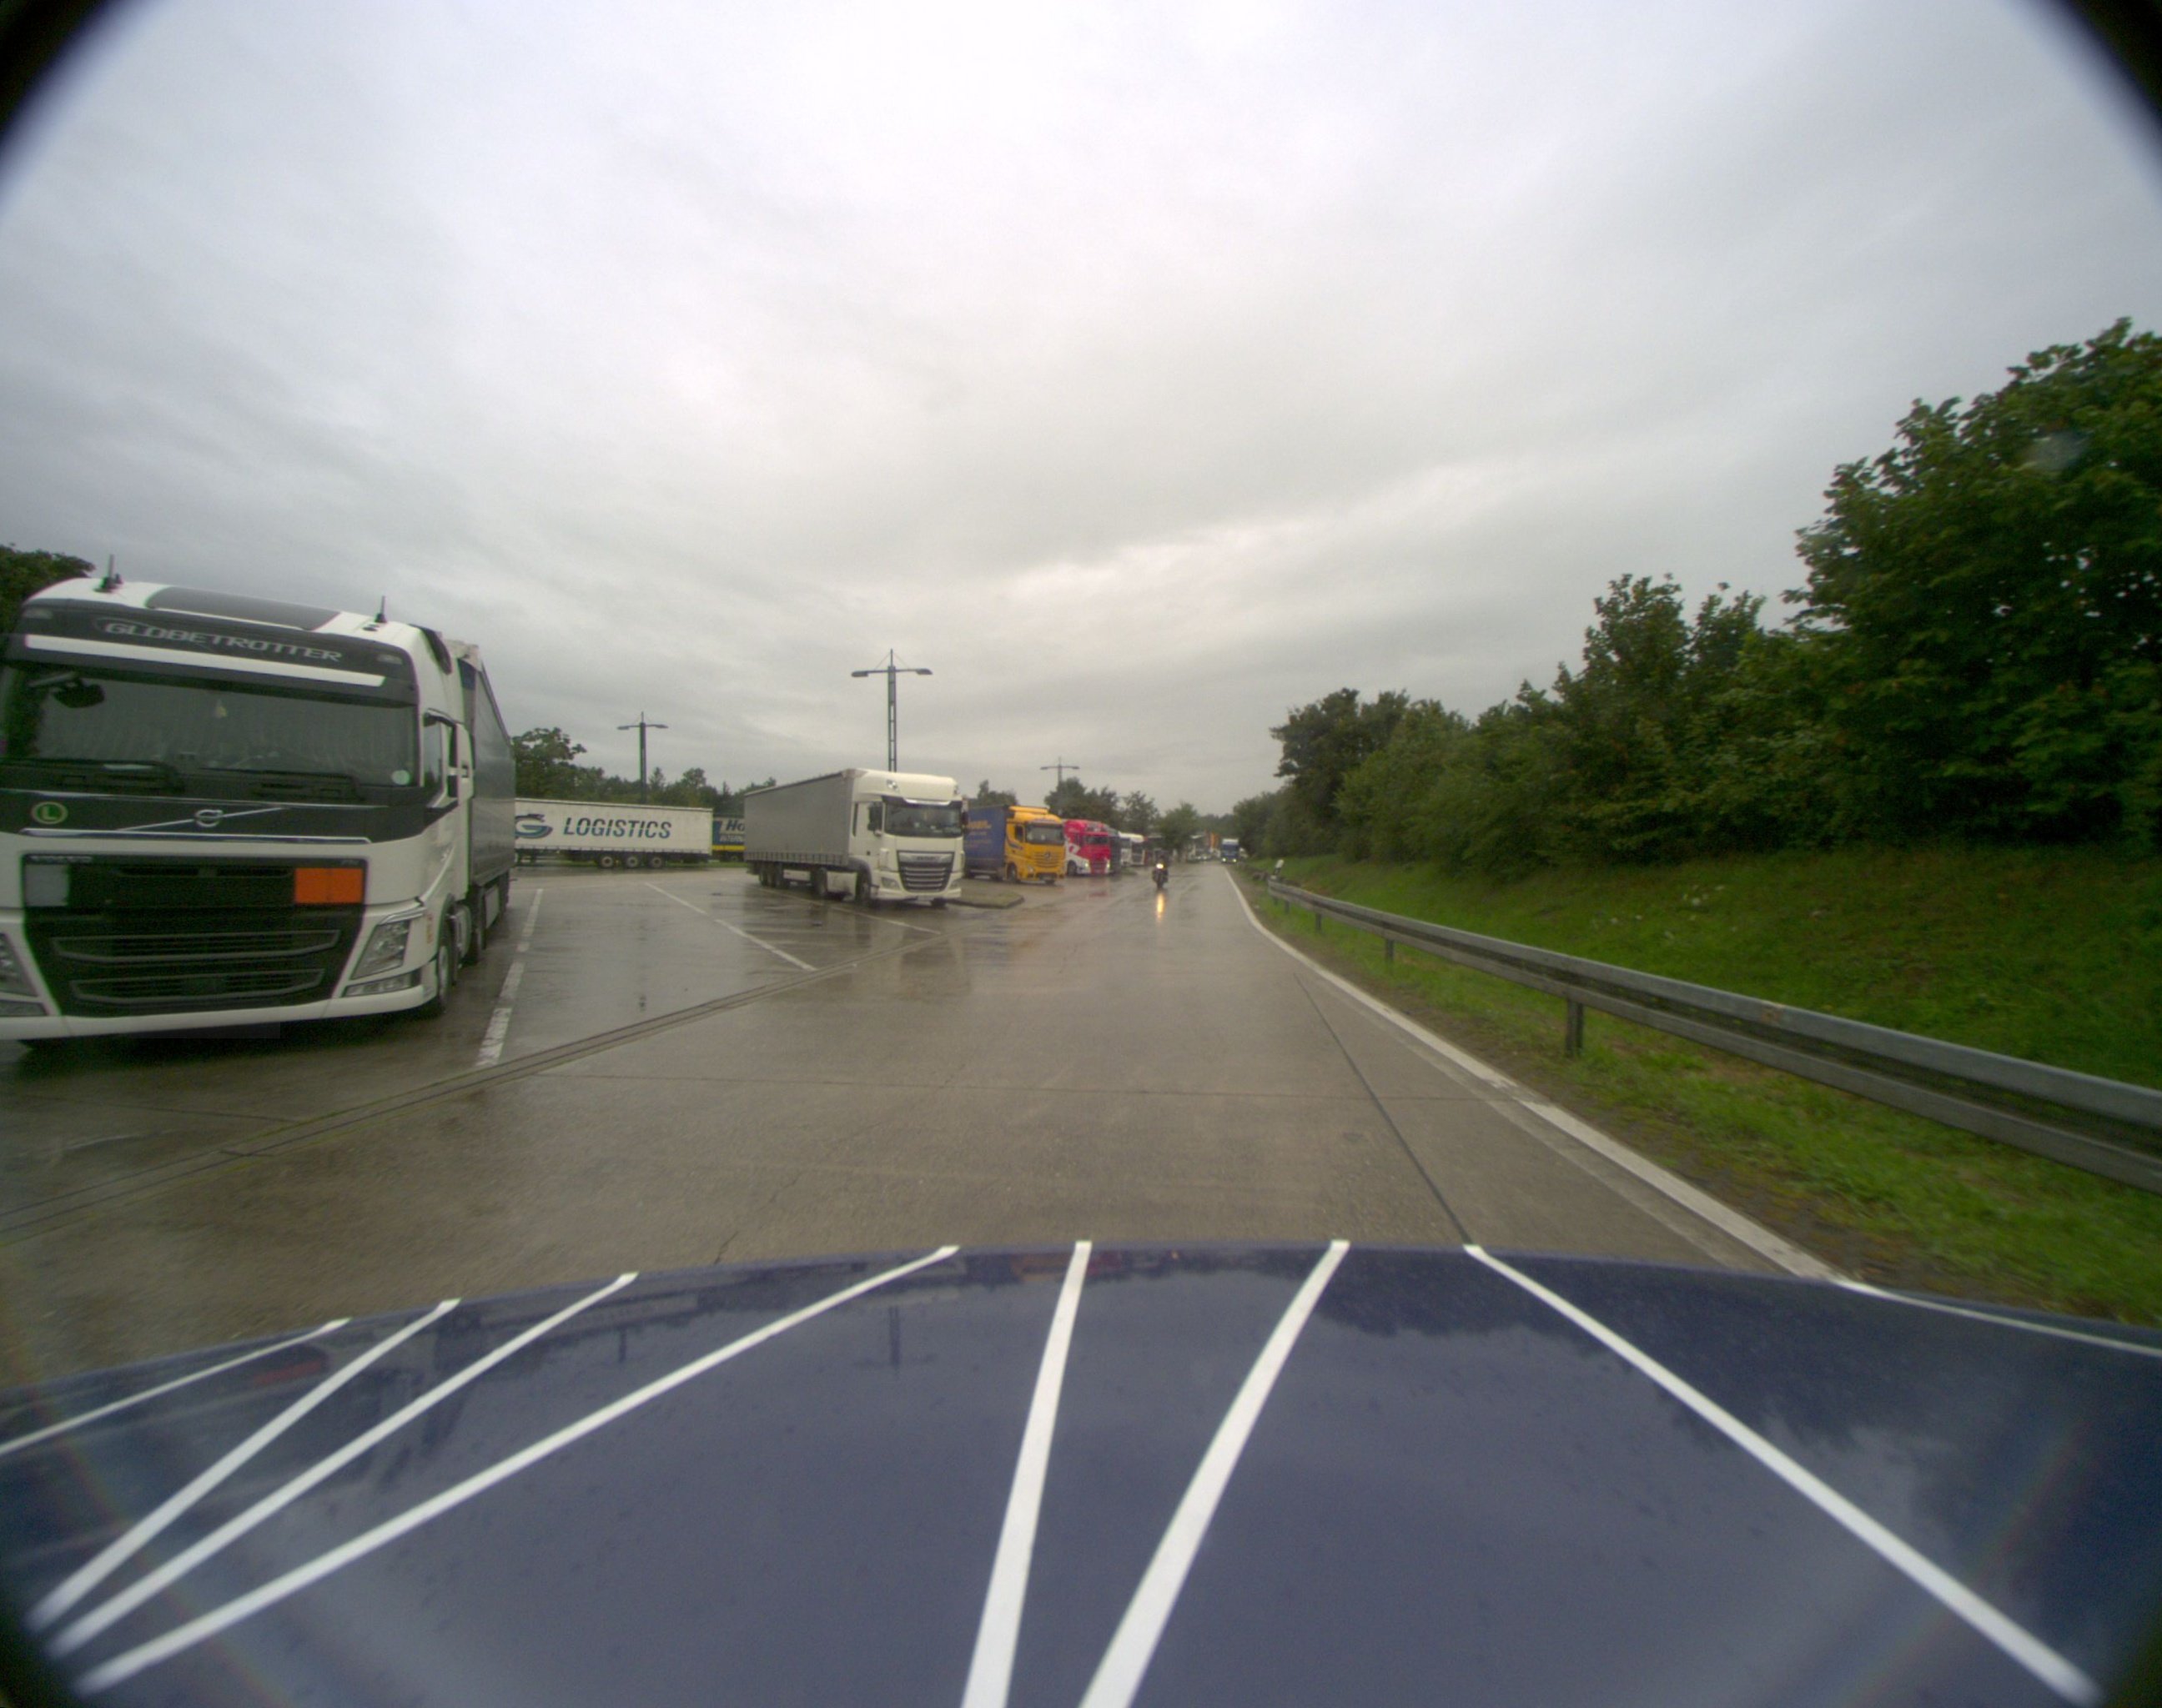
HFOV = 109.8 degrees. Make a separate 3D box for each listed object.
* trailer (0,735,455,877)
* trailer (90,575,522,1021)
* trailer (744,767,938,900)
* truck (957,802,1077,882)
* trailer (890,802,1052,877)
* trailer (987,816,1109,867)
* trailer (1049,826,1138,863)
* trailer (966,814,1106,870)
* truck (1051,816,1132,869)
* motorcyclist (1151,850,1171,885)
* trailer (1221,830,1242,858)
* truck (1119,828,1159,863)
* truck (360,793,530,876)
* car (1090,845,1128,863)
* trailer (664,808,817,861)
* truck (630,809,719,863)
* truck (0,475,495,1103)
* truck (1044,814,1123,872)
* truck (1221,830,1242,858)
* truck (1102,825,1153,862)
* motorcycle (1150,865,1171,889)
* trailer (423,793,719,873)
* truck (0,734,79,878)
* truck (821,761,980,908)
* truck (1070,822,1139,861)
[{"bbox_3d":[-30.900,-1.491,27.853,12.055,4.448,3.250,0,1,-36],"label":"trailer"},{"bbox_3d":[-12.021,-0.649,13.620,2.832,4.147,13.955,0,1,-35],"label":"trailer"},{"bbox_3d":[-9.723,-0.736,28.815,2.850,3.897,13.916,0,1,-35],"label":"trailer"},{"bbox_3d":[-3.697,-0.656,41.430,2.846,3.897,8.108,0,1,-34],"label":"truck"},{"bbox_3d":[-7.468,-0.893,46.926,2.874,3.897,16.588,0,1,-34],"label":"trailer"},{"bbox_3d":[-3.179,-1.074,64.747,2.882,3.897,13.896,0,1,-38],"label":"trailer"},{"bbox_3d":[1.355,-1.215,97.801,3.252,4.361,14.356,-1,1,-38],"label":"trailer"},{"bbox_3d":[-4.013,-0.959,60.089,3.253,3.897,14.788,0,1,-38],"label":"trailer"},{"bbox_3d":[0.743,-0.890,59.673,2.905,3.897,6.537,0,1,-38],"label":"truck"},{"bbox_3d":[3.685,0.632,35.146,0.877,1.558,1.374,1,0,6],"label":"motorcyclist"},{"bbox_3d":[25.295,-1.691,128.304,3.241,4.361,13.775,0,1,10],"label":"trailer"},{"bbox_3d":[7.402,-1.061,97.568,2.611,4.361,4.616,-1,1,-38],"label":"truck"},{"bbox_3d":[-34.809,-1.107,41.974,6.795,4.250,2.661,-3,1,-35],"label":"truck"},{"bbox_3d":[2.819,-0.010,77.825,1.852,1.848,3.989,-1,1,-35],"label":"car"},{"bbox_3d":[-26.013,-1.567,58.572,10.406,3.733,2.064,-3,1,-37],"label":"trailer"},{"bbox_3d":[-29.751,-1.374,55.737,5.349,3.733,2.064,-3,1,-37],"label":"truck"},{"bbox_3d":[-7.889,-0.466,7.680,2.832,4.122,5.288,0,1,-35],"label":"truck"},{"bbox_3d":[0.106,-0.789,54.764,3.253,3.897,5.007,0,1,-38],"label":"truck"},{"bbox_3d":[24.073,-1.550,121.861,3.241,4.361,6.318,0,1,10],"label":"truck"},{"bbox_3d":[5.593,-1.245,92.298,3.252,4.361,5.797,-1,1,-38],"label":"truck"},{"bbox_3d":[3.686,1.039,35.204,0.877,1.016,2.354,1,0,6],"label":"motorcycle"},{"bbox_3d":[-29.769,-1.377,45.523,14.189,4.233,2.661,-3,1,-35],"label":"trailer"},{"bbox_3d":[-36.951,-1.540,23.475,6.548,4.481,3.250,0,1,-36],"label":"truck"},{"bbox_3d":[-5.634,-0.535,23.071,2.836,3.890,5.396,0,1,-36],"label":"truck"},{"bbox_3d":[2.472,-1.371,83.804,3.253,4.068,7.915,0,1,-38],"label":"truck"}]
